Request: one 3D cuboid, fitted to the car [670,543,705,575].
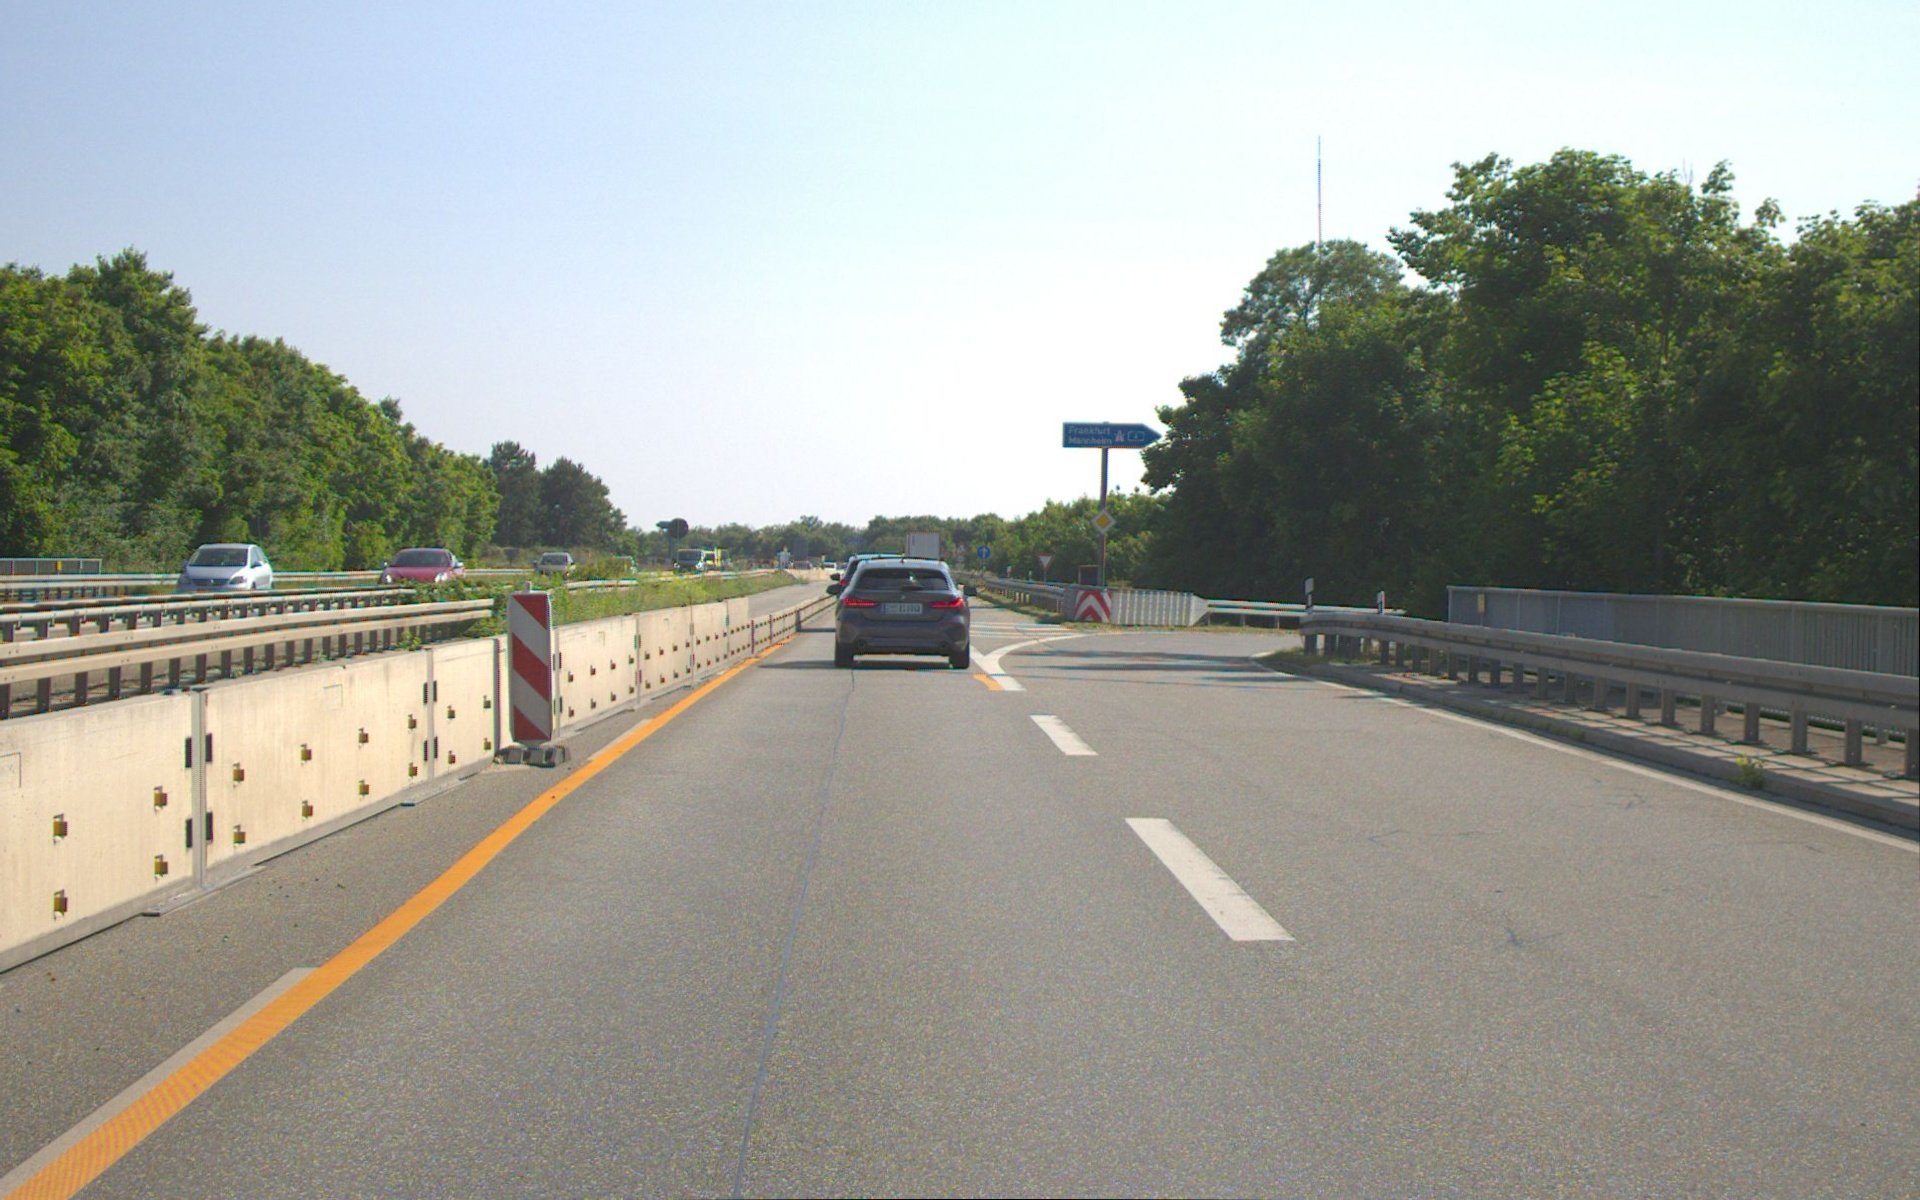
[{"bbox_3d":[-17.685,-2.670,223.398,1.993,2.027,5.169,0,1,-1],"label":"car"}]

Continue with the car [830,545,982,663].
[{"bbox_3d":[-0.771,0.024,46.325,1.920,1.488,4.001,1,1,-2],"label":"car"}]

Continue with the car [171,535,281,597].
[{"bbox_3d":[-17.312,-0.808,81.220,1.777,1.388,4.126,-1,1,-1],"label":"car"}]

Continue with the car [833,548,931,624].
[{"bbox_3d":[-1.612,-0.322,72.258,1.993,1.561,4.000,0,1,-1],"label":"car"}]

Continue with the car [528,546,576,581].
[{"bbox_3d":[-18.670,-1.665,157.463,1.763,1.577,4.423,0,1,-1],"label":"car"}]

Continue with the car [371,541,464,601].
[{"bbox_3d":[-13.068,-0.707,82.976,1.714,1.392,4.221,1,1,-2],"label":"car"}]
